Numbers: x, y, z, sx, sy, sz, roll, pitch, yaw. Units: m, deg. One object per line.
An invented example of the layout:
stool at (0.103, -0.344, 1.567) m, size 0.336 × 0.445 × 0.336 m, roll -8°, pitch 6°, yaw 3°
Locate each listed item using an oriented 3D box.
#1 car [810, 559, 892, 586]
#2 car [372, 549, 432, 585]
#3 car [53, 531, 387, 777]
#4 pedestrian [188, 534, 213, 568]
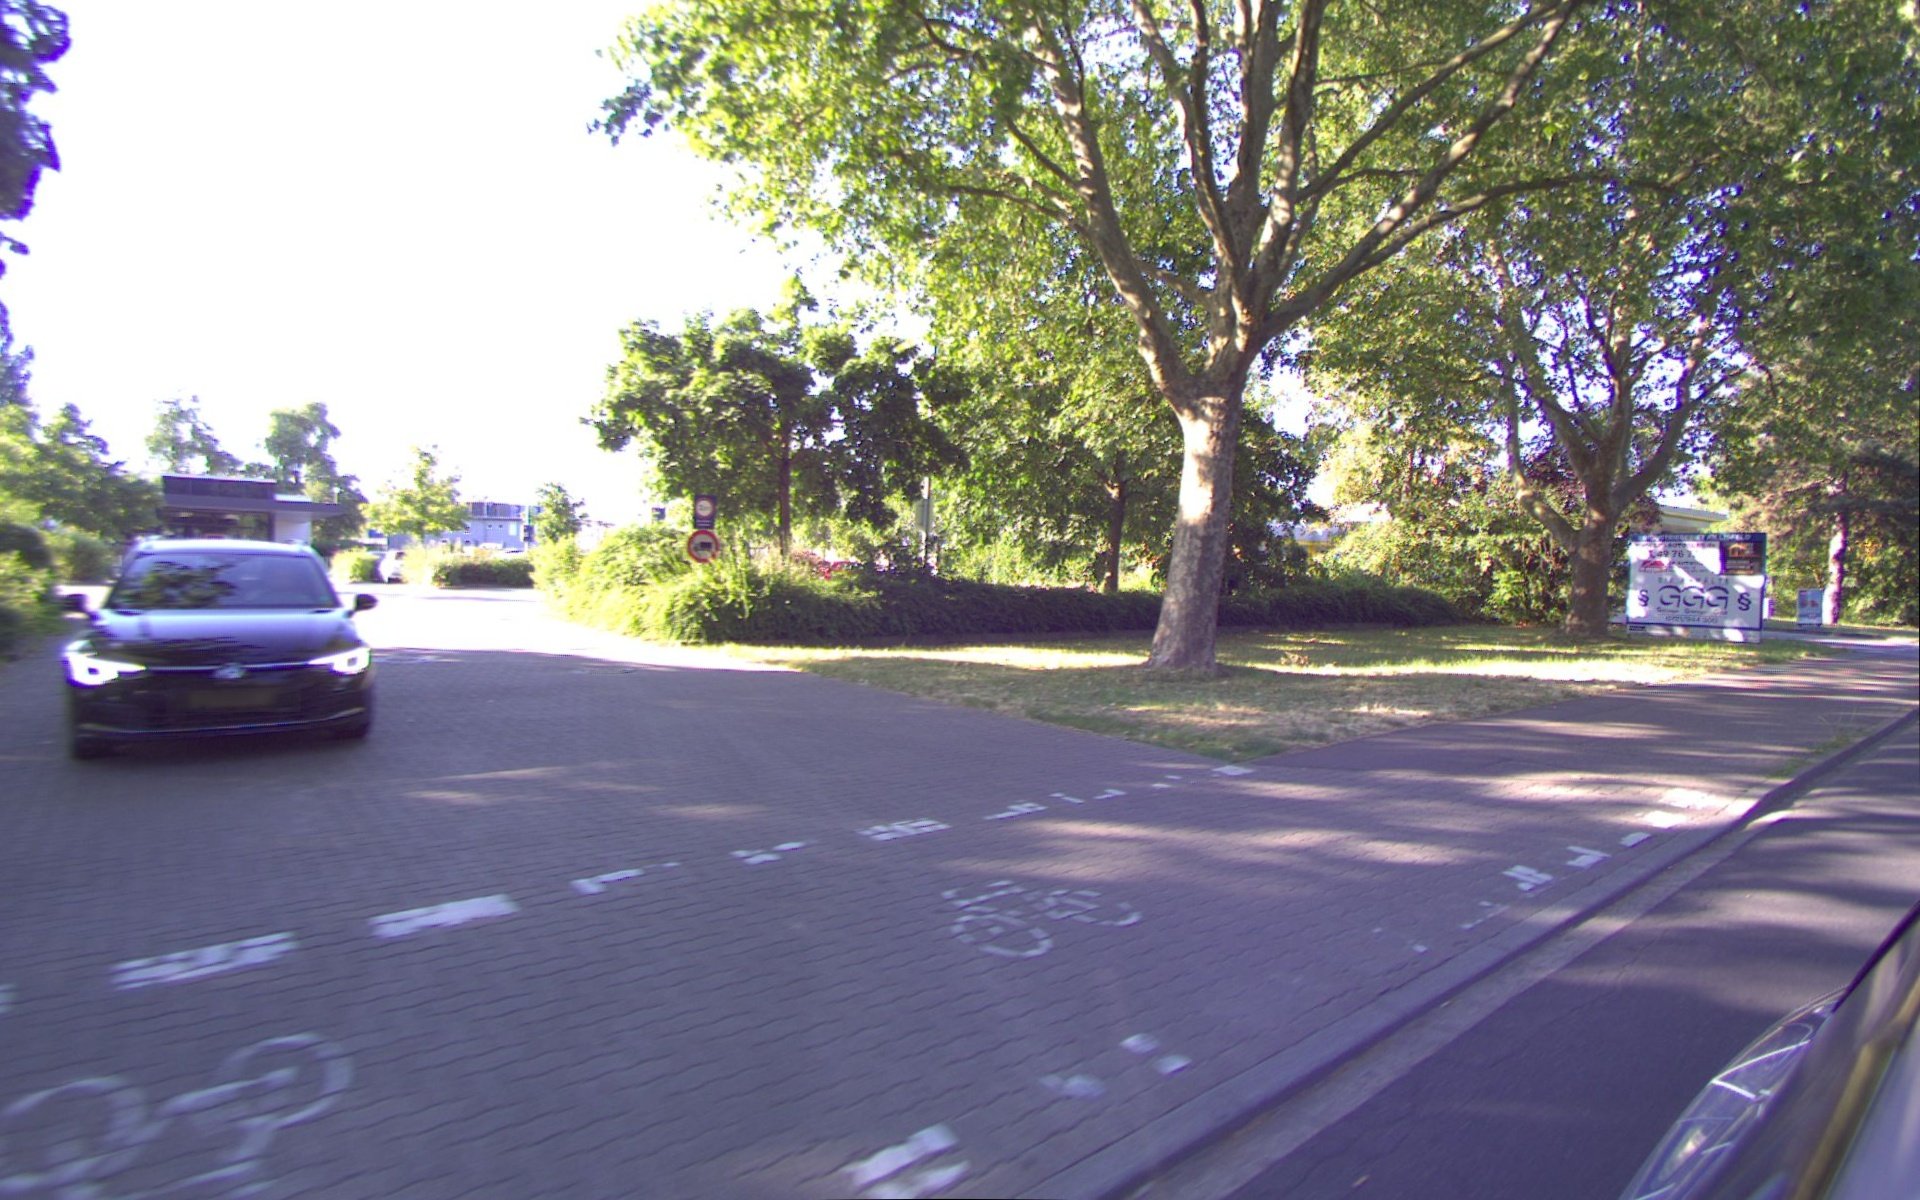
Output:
car at (-5.929, -1.503, 55.233) m, size 3.924 × 1.371 × 2.001 m, roll 0°, pitch 2°, yaw -35°
car at (-25.628, -1.509, 46.407) m, size 1.962 × 1.571 × 4.591 m, roll 0°, pitch 2°, yaw -34°
car at (-5.867, 0.222, 8.108) m, size 1.728 × 1.461 × 4.000 m, roll 0°, pitch 3°, yaw -37°
pedestrian at (-41.125, -2.640, 54.800) m, size 1.024 × 1.759 × 0.940 m, roll 1°, pitch 0°, yaw -38°
